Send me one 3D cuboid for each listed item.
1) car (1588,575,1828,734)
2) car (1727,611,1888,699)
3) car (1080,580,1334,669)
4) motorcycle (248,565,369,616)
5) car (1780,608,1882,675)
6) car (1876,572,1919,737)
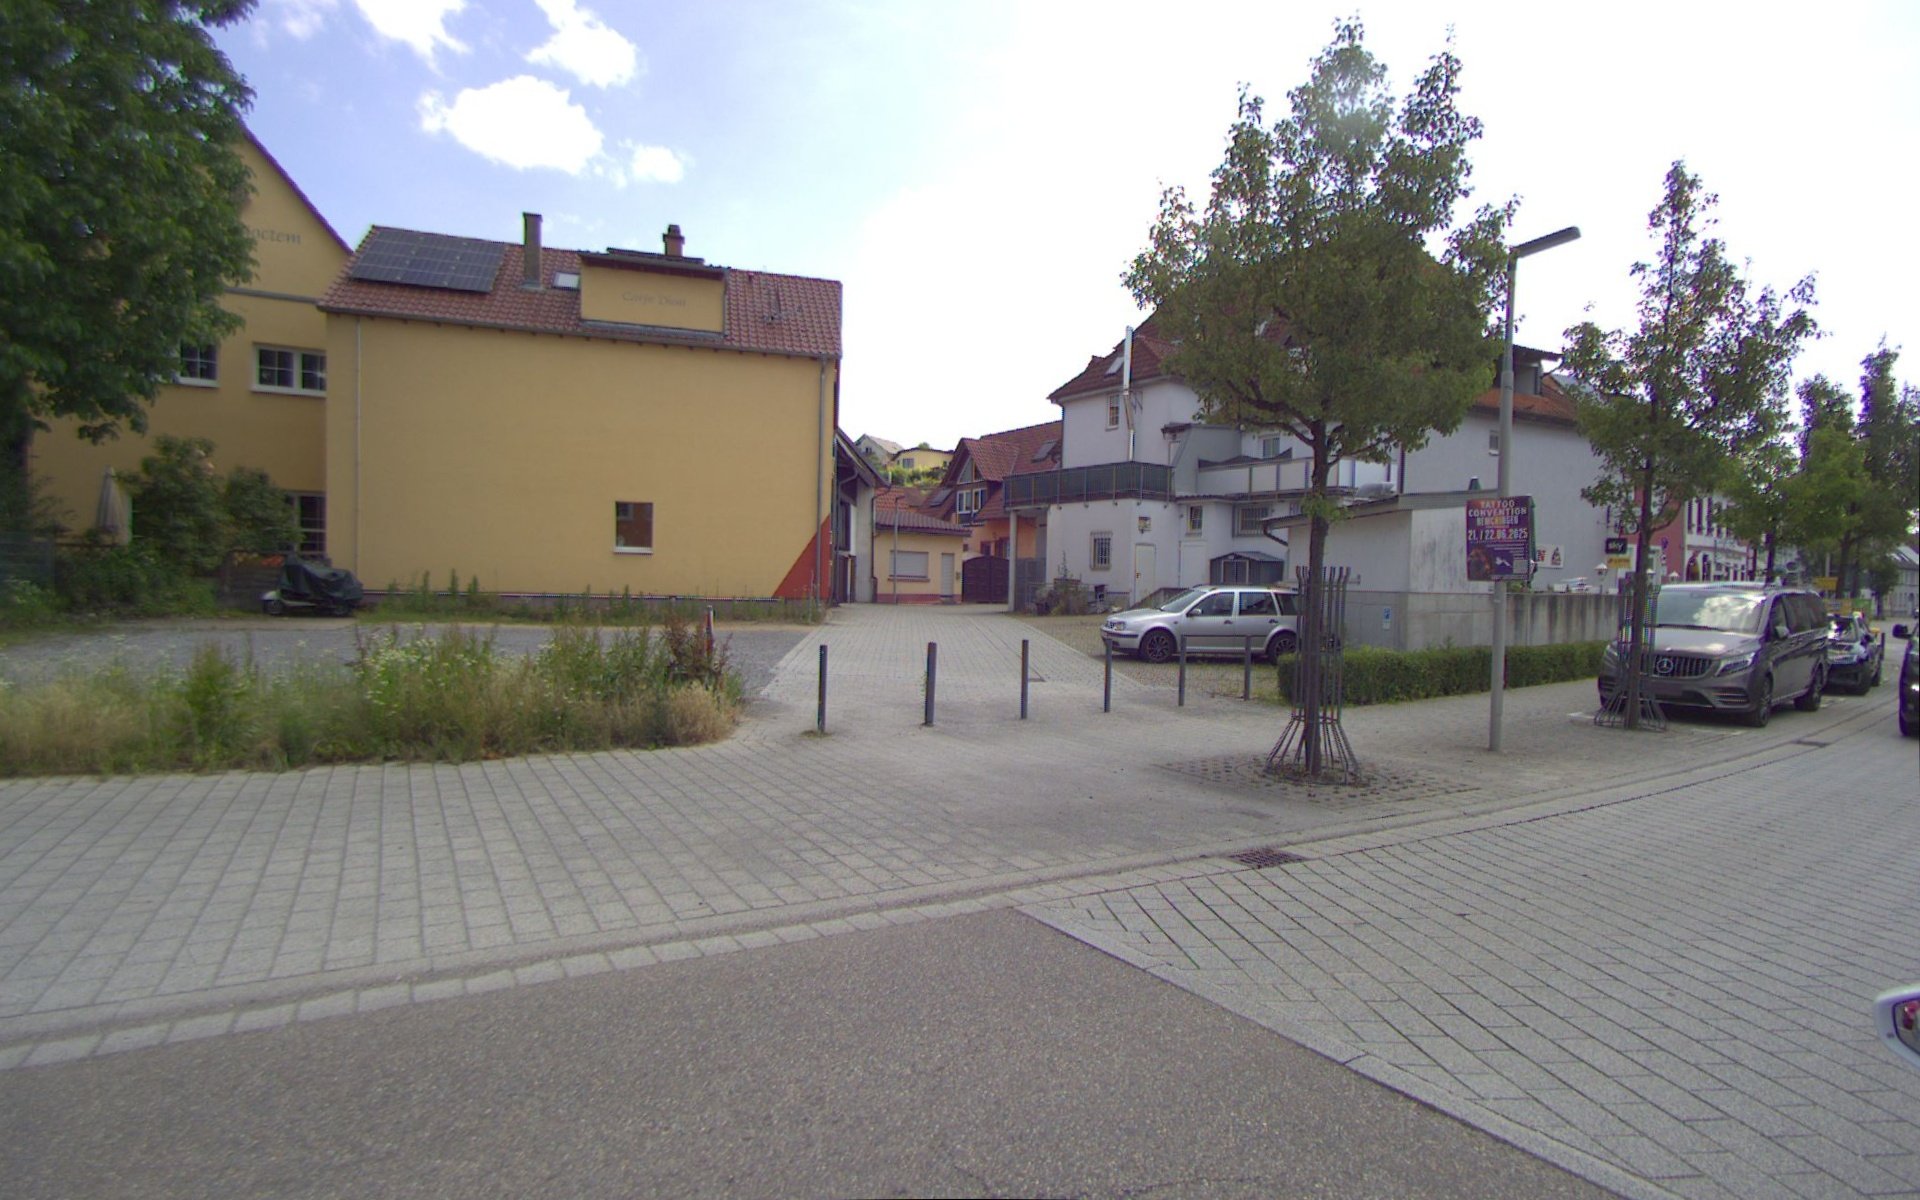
[{"bbox_3d":[11.454,0.688,15.225,5.007,2.017,1.968,0,1,-42],"label":"car"},{"bbox_3d":[16.548,0.970,19.527,4.503,1.442,1.799,0,1,-42],"label":"car"},{"bbox_3d":[4.728,0.443,19.624,4.353,1.516,1.997,1,3,-7],"label":"car"},{"bbox_3d":[-13.678,-0.197,21.165,2.039,1.034,0.778,1,1,-27],"label":"motorcycle"},{"bbox_3d":[21.733,0.960,25.014,1.651,1.494,3.938,1,1,44],"label":"car"},{"bbox_3d":[14.032,0.692,13.411,4.699,2.041,1.977,0,1,-39],"label":"car"}]
